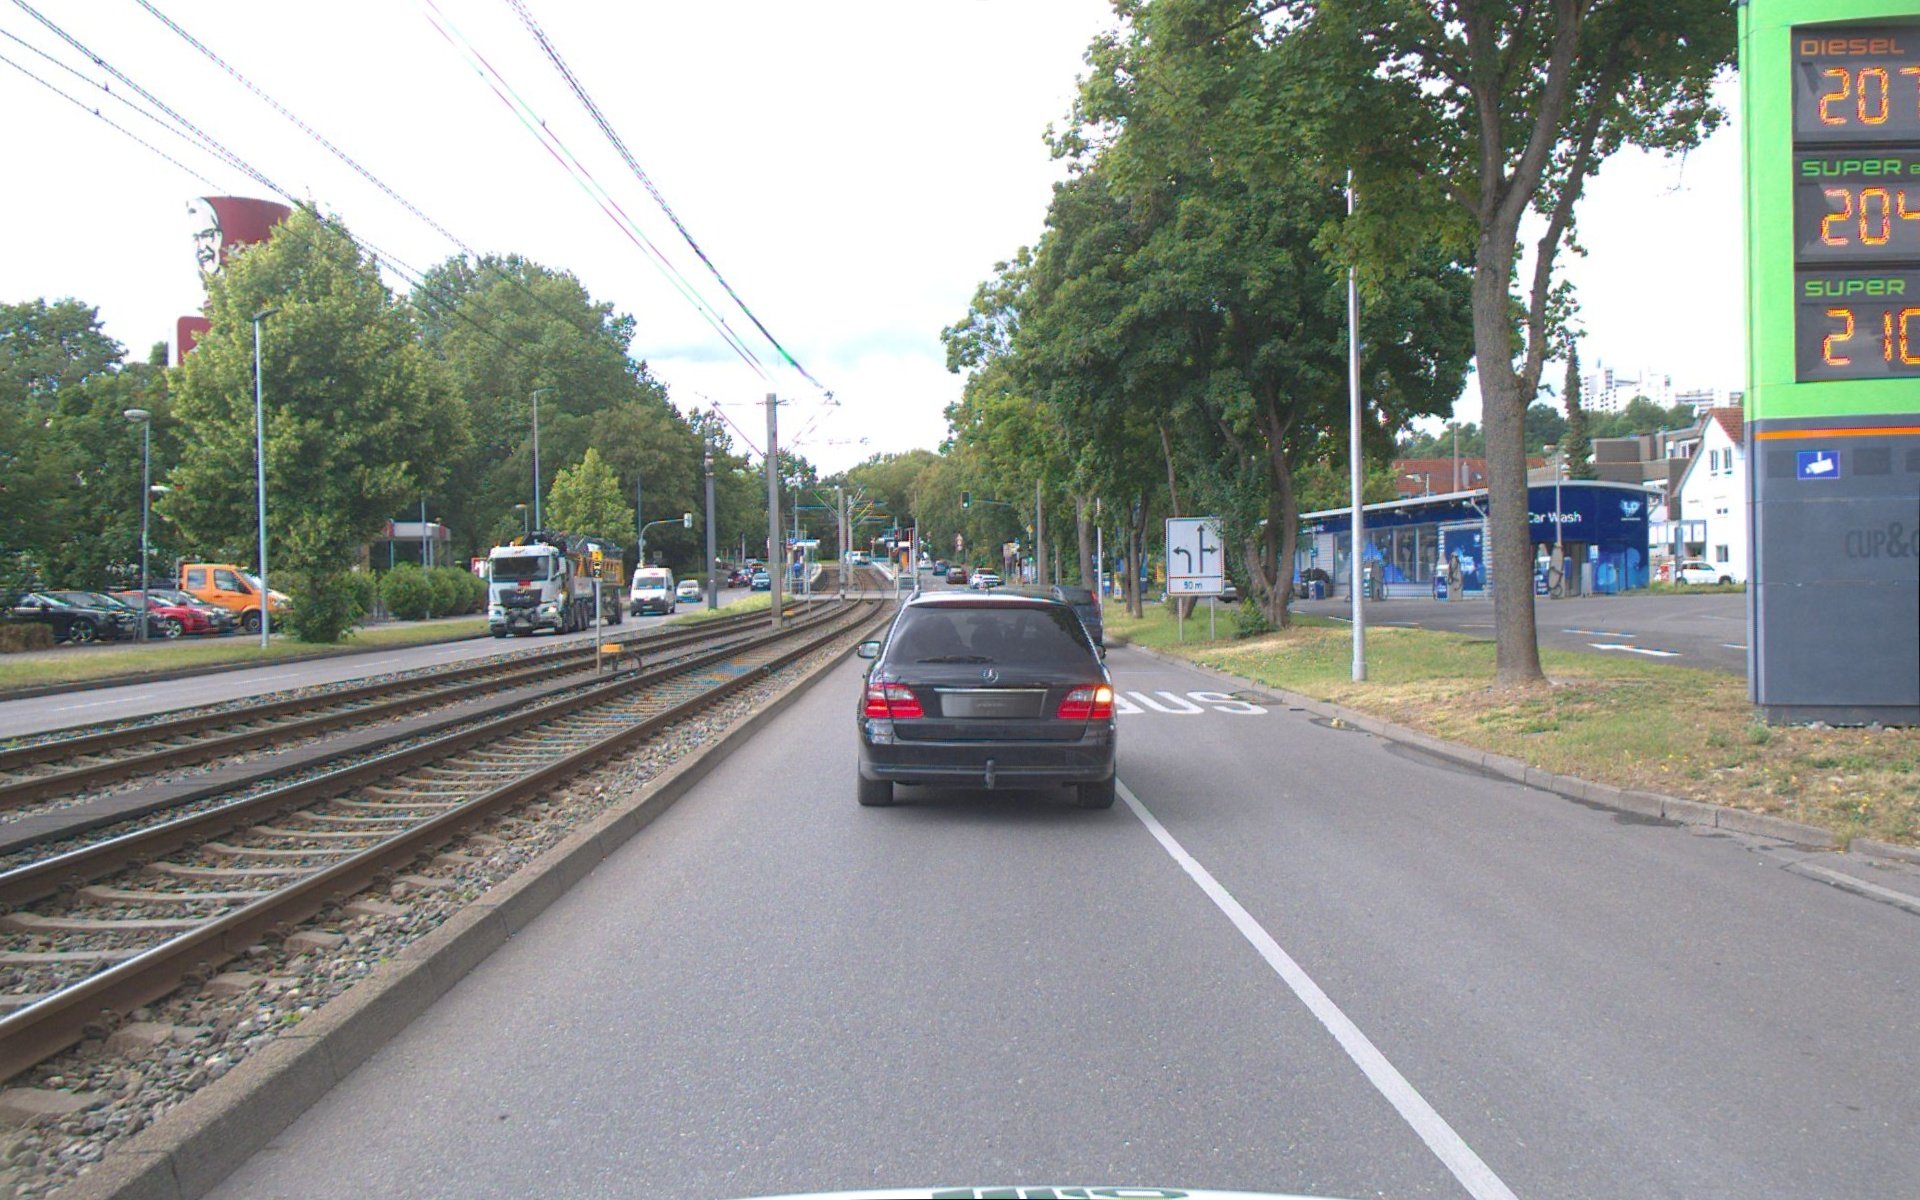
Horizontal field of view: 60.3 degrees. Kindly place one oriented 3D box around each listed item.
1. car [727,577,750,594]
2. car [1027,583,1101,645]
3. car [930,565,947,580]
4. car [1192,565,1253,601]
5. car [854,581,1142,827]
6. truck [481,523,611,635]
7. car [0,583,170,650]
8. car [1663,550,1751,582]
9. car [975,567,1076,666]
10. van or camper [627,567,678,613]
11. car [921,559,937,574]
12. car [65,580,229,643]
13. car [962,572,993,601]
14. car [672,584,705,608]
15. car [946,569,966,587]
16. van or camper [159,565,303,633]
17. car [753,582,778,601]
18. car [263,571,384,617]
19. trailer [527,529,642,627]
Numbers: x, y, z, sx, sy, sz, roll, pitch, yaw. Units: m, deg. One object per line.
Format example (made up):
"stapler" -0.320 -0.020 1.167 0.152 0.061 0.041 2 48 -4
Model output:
"car" -21.369 -1.403 159.600 1.729 1.676 3.770 1 0 -1
"car" 2.534 0.335 40.801 1.539 1.439 3.353 1 0 -1
"car" -2.463 -3.095 186.323 1.634 1.559 3.767 1 0 -4
"car" 13.151 -0.863 82.671 1.965 1.712 4.579 -1 1 23
"car" 0.207 0.619 12.119 1.772 1.500 3.880 0 1 -1
"truck" -15.223 -0.767 61.668 2.653 3.727 11.104 -1 1 -4
"car" -23.338 0.428 43.810 3.910 1.627 1.876 -2 1 -6
"car" 41.657 -1.865 92.266 4.132 1.713 1.776 1 0 -4
"car" 1.223 0.302 32.294 1.744 1.781 3.717 1 0 -1
"van or camper" -16.963 -0.567 91.528 1.954 2.395 5.763 -1 1 -3
"car" -3.875 -4.218 209.546 1.953 1.744 3.999 -1 1 -1
"car" -24.006 0.315 48.959 3.909 1.829 1.876 0 1 -6
"car" 1.165 -0.908 110.998 1.953 1.870 3.999 1 0 -1
"car" -18.987 -0.277 115.810 1.729 1.676 3.770 1 0 -1
"car" -0.420 -2.221 167.929 1.953 1.870 3.999 1 0 -1
"van or camper" -23.846 -0.042 54.187 3.909 2.172 1.876 0 0 -6
"car" -16.756 -0.736 142.543 1.729 1.676 3.770 1 0 -1
"car" -24.204 -0.253 63.006 3.910 1.627 1.794 -2 1 -6
"trailer" -15.800 -0.925 70.601 2.651 3.724 13.289 -1 1 -4
